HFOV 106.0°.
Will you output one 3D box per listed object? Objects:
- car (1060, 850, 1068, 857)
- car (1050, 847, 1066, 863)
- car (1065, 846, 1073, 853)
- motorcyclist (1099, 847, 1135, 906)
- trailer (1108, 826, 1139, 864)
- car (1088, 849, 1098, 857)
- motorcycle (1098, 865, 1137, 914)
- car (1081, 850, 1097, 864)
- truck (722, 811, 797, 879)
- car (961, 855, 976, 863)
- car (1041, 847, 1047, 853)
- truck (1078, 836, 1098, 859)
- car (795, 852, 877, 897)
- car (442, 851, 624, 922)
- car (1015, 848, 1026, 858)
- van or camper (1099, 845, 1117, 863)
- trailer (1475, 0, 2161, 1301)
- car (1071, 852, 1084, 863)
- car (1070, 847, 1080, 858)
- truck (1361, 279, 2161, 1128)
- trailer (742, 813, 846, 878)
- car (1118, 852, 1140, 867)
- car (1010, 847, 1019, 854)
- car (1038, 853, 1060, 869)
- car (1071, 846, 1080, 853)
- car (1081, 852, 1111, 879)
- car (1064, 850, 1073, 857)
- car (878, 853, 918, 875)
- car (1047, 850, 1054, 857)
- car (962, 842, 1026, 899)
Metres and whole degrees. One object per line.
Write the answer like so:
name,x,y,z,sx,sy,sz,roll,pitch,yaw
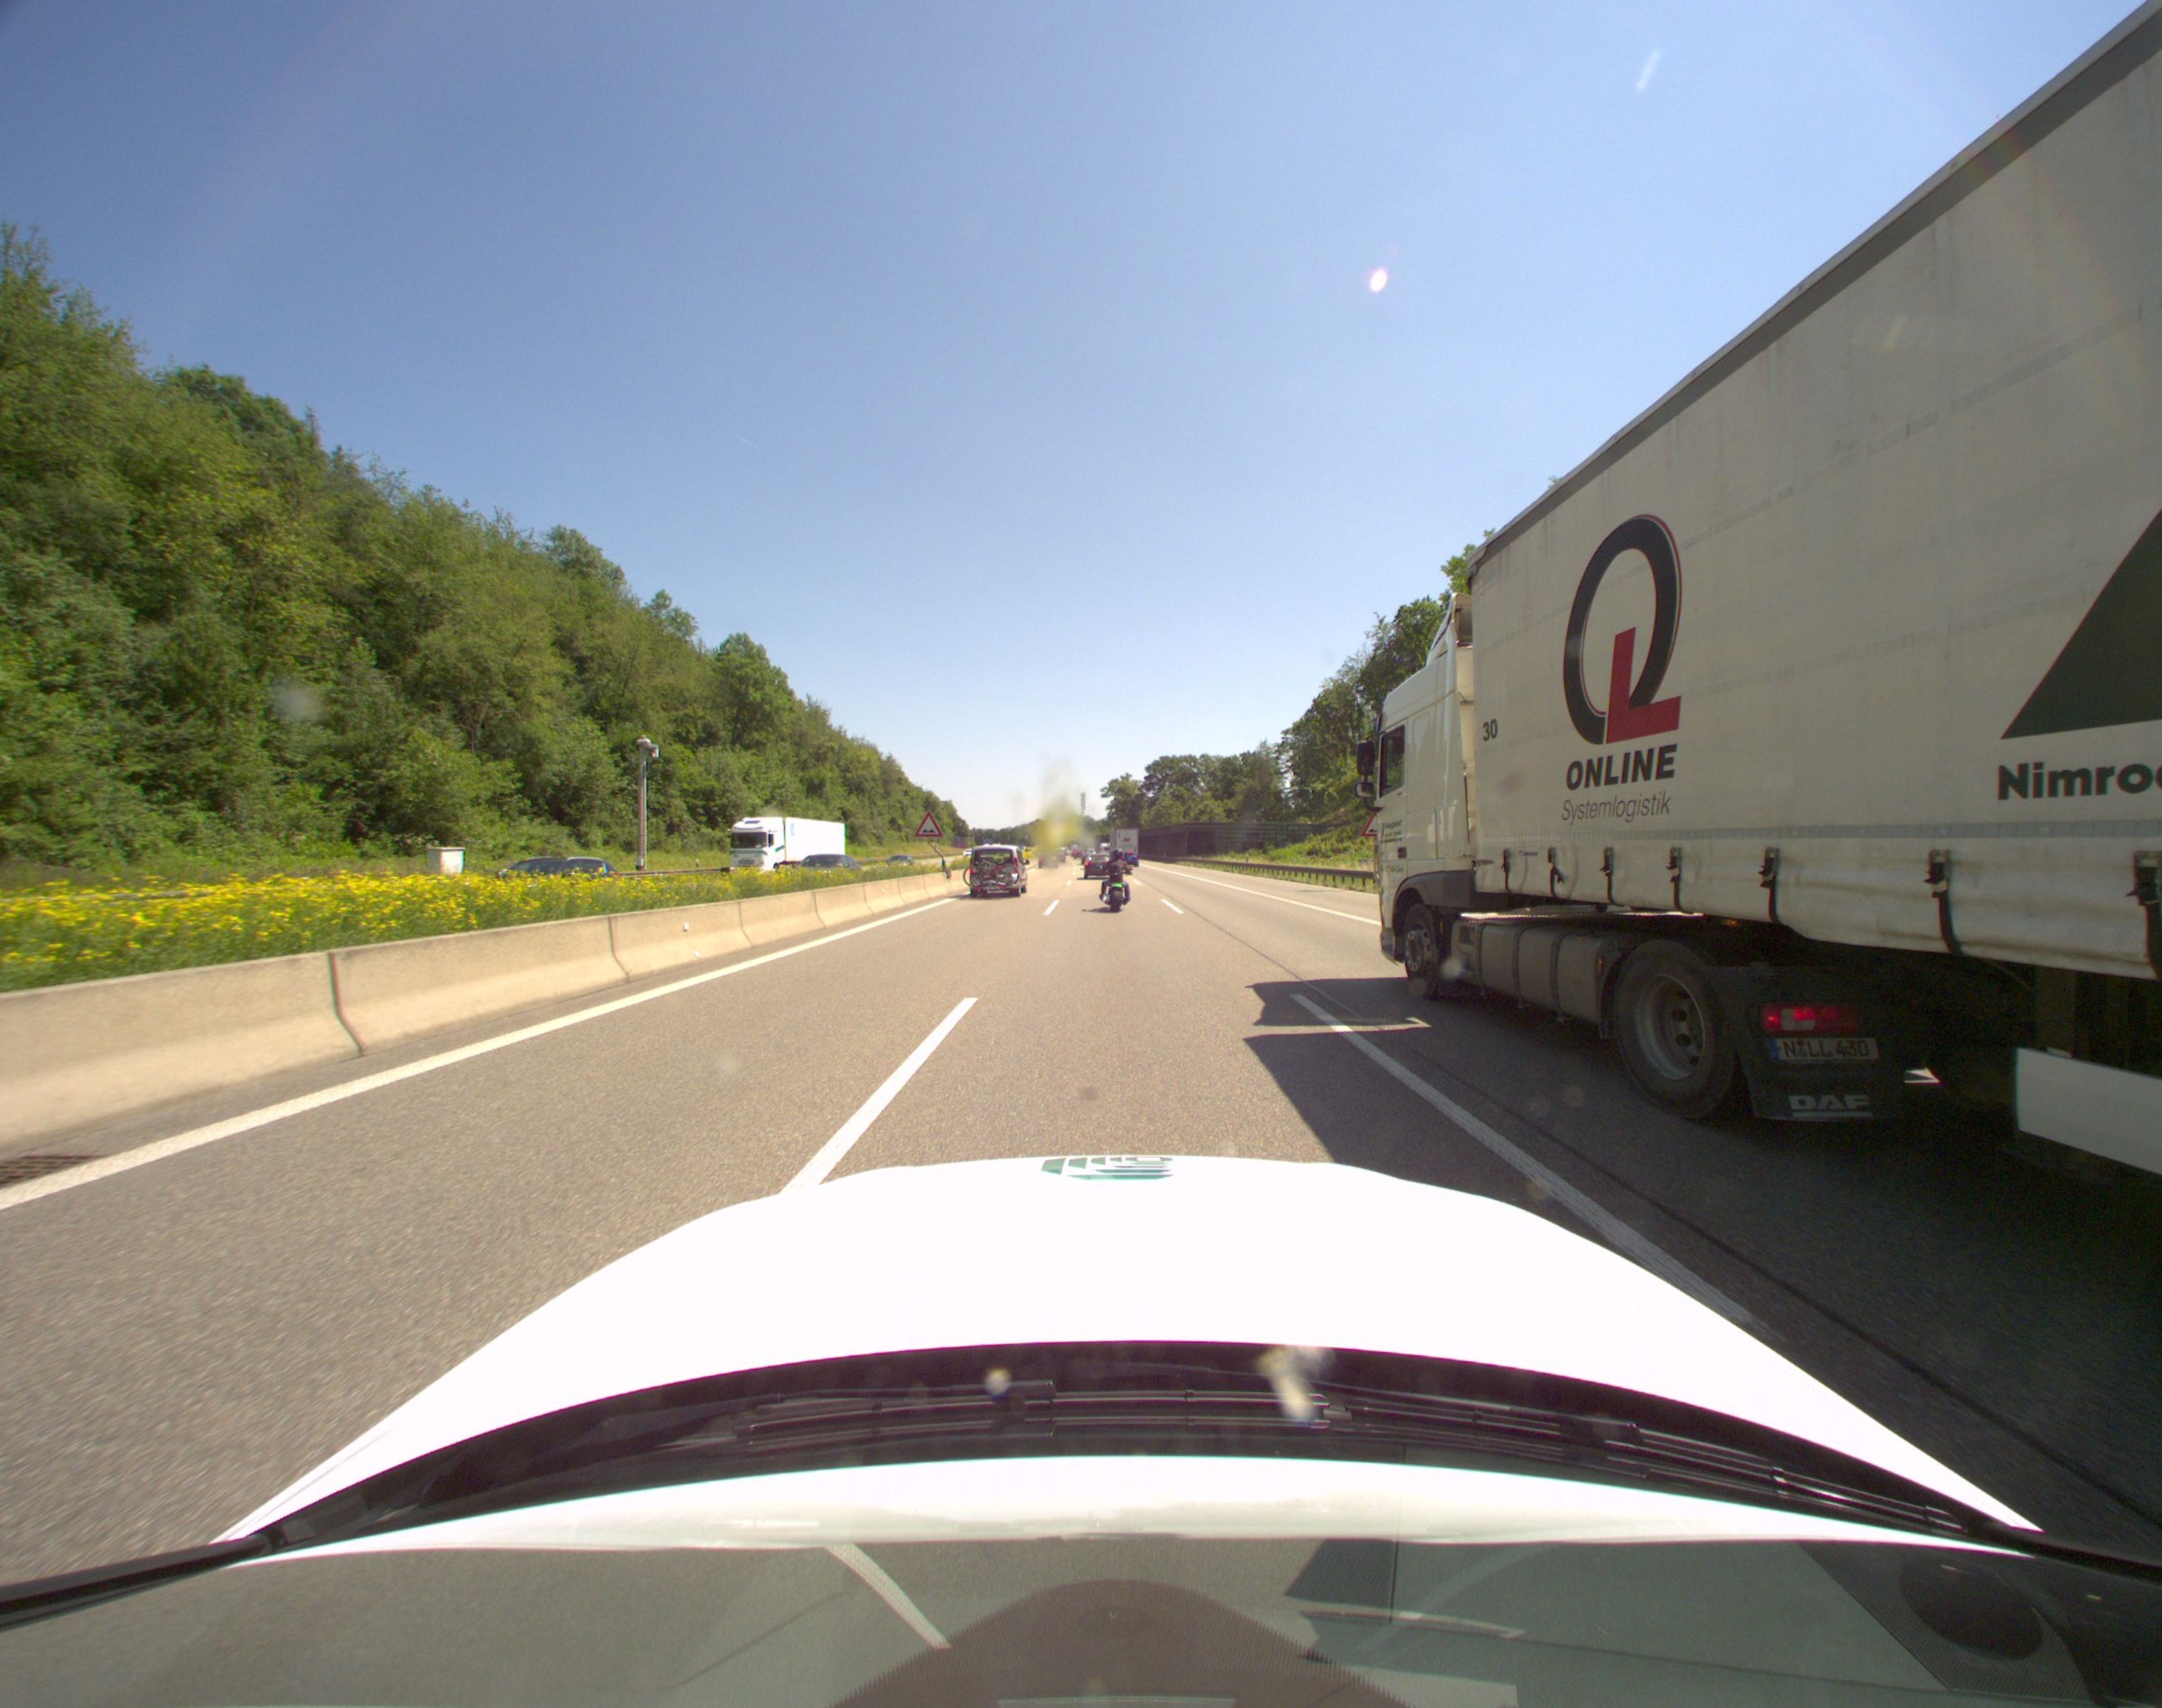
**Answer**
car,-4.163,-0.103,199.900,1.827,1.496,3.740,-1,-1,-2
car,-2.935,0.183,104.571,1.785,2.014,3.642,-1,-1,1
car,-3.477,-1.314,228.783,2.104,1.876,3.994,-1,-1,-4
motorcyclist,0.971,0.580,21.566,0.896,1.475,1.873,-1,-1,3
trailer,4.871,-1.055,95.114,2.876,4.038,13.793,-1,0,0
car,2.566,-0.166,174.970,1.988,1.574,3.998,-1,-1,-1
motorcycle,0.975,0.891,21.621,0.960,1.148,2.814,0,1,3
car,0.943,0.344,93.211,1.773,1.552,3.585,-1,-1,1
truck,-20.599,-0.526,52.410,2.681,4.090,5.203,-1,-1,0
car,-18.838,0.850,136.504,1.987,1.442,4.171,-1,-1,0
car,-10.791,-1.190,237.323,1.828,1.496,3.738,-1,-1,-4
truck,1.633,-1.456,186.750,3.796,4.960,8.935,-1,-1,-5
car,-9.807,0.783,32.965,1.986,1.678,4.082,-1,0,1
car,-14.030,0.764,21.182,1.941,1.642,3.981,-1,0,1
car,-12.759,-0.161,172.523,1.987,2.014,4.419,-1,-1,0
van or camper,4.420,0.022,133.402,2.677,2.813,6.799,-1,-1,-1
trailer,4.425,-0.774,0.212,2.775,4.204,13.252,0,1,2
car,-0.582,0.592,136.215,1.987,1.640,3.999,-1,-1,0
car,-1.218,-0.267,161.294,1.906,2.014,3.687,-1,-1,-2
truck,4.687,-0.780,6.994,2.775,4.204,5.873,0,1,2
trailer,-20.582,-0.496,59.653,2.706,4.208,13.927,-1,-1,0
car,4.723,0.532,80.606,1.647,1.483,4.476,-1,-1,-3
car,-17.913,-0.962,219.599,1.988,1.690,4.399,-1,-1,-1
car,-2.993,0.641,76.306,1.988,1.387,3.997,-1,-1,-2
car,-1.557,-1.257,223.287,2.104,1.876,3.994,-1,-1,-4
car,0.836,0.667,47.071,1.657,1.453,3.867,-1,-1,-1
car,-2.732,-0.015,179.912,1.827,1.496,3.740,-1,-1,-2
car,-13.579,0.724,60.690,1.986,1.572,4.001,-1,-1,1
car,-7.272,-0.082,194.692,1.827,1.496,3.740,-1,-1,-2
car,-3.032,0.577,29.238,1.894,1.873,4.410,-1,-1,-1
